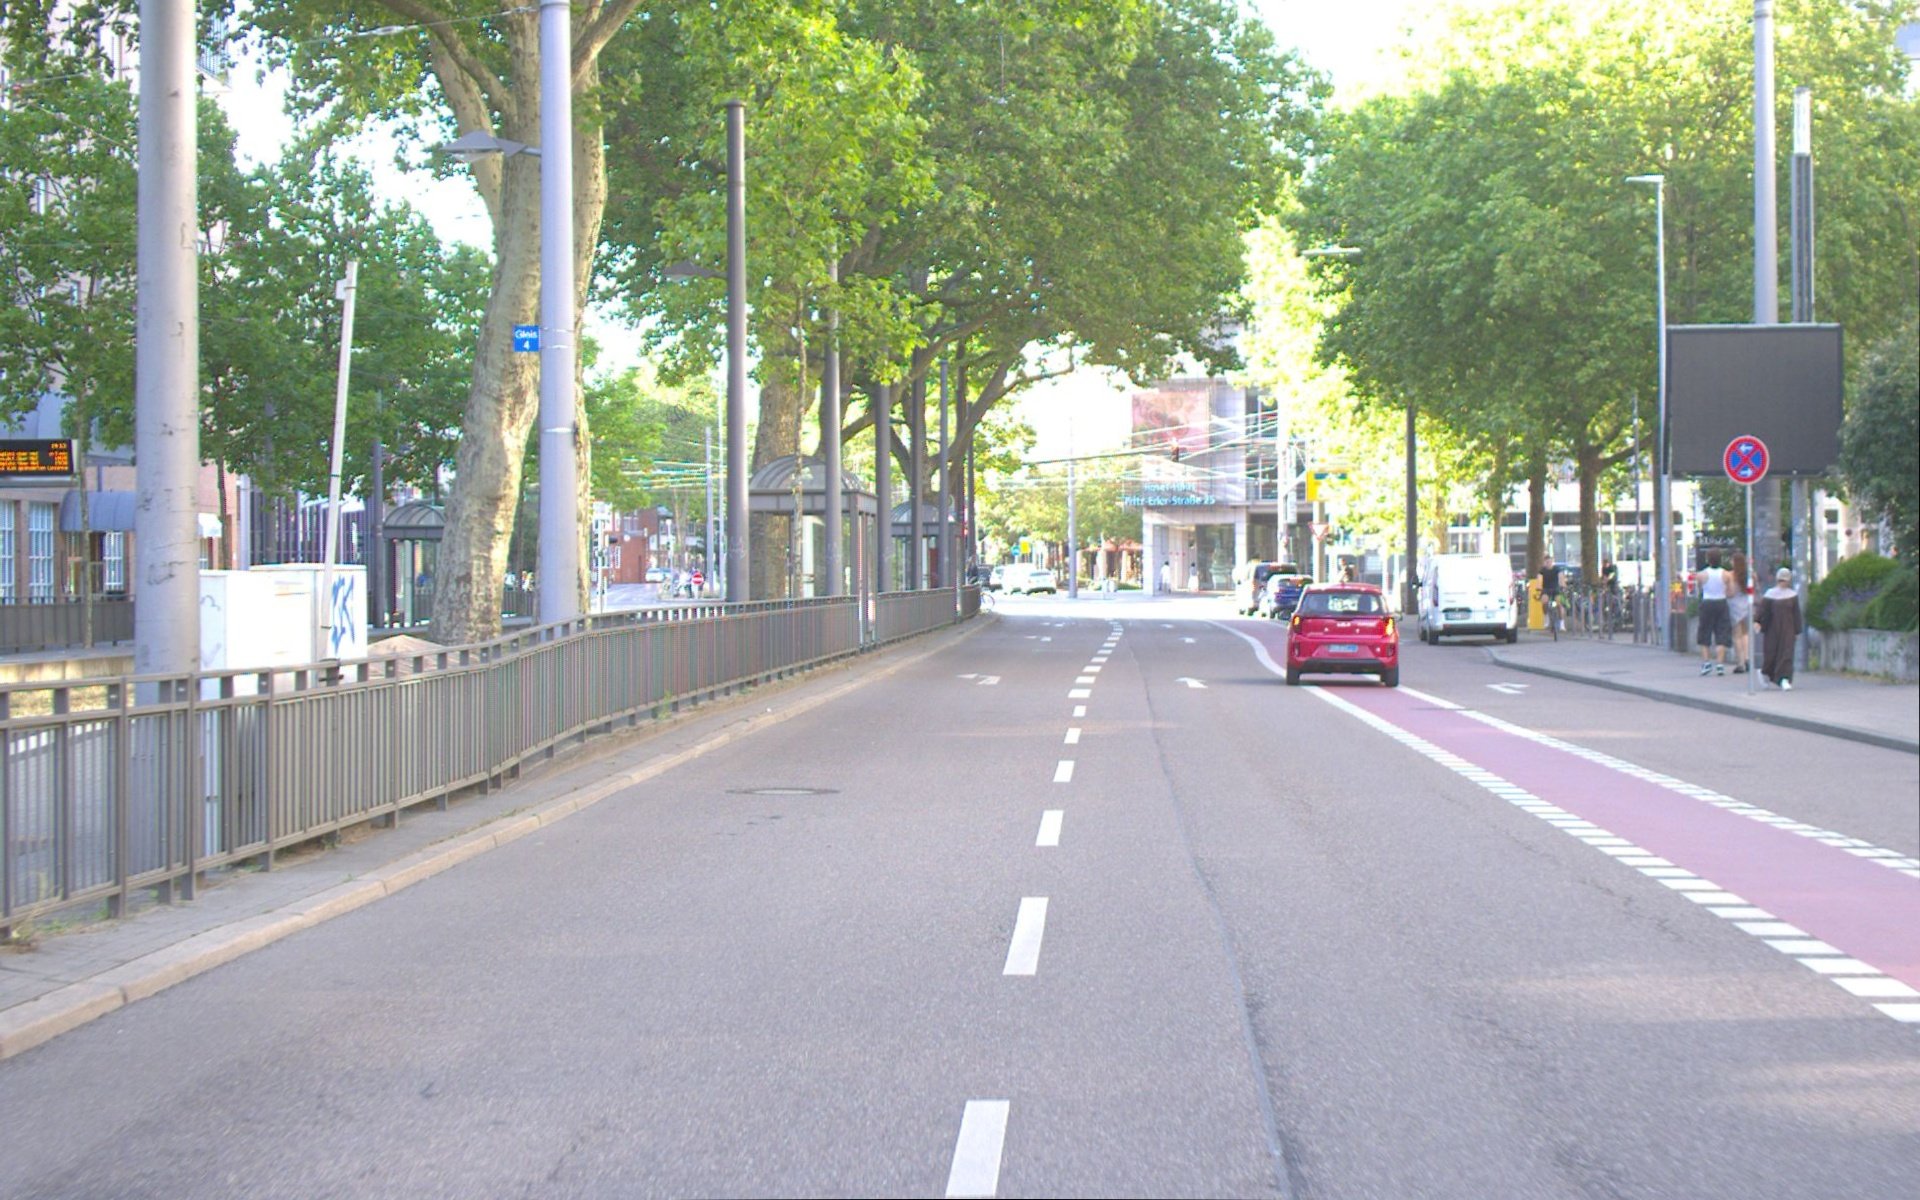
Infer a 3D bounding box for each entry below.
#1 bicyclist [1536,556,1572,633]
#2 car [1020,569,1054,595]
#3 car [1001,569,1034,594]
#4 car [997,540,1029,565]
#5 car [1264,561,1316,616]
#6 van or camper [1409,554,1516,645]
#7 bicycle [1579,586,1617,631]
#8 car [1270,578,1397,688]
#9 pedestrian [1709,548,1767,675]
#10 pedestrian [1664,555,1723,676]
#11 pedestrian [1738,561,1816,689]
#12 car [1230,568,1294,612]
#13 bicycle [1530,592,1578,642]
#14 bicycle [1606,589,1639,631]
[{"bbox_3d":[13.121,-0.121,75.970,0.650,1.696,0.952,0,0,2],"label":"bicyclist"},{"bbox_3d":[4.537,-1.071,202.907,1.777,1.529,3.412,0,1,-2],"label":"car"},{"bbox_3d":[3.494,-1.140,209.557,1.777,1.529,3.412,0,1,-2],"label":"car"},{"bbox_3d":[3.319,-2.966,215.569,1.777,1.583,3.412,0,1,-2],"label":"car"},{"bbox_3d":[10.984,-0.382,114.619,1.636,1.794,3.329,0,1,4],"label":"car"},{"bbox_3d":[11.268,-0.026,77.385,1.994,1.982,4.744,0,0,3],"label":"van or camper"},{"bbox_3d":[15.329,0.203,82.642,0.586,1.063,1.900,-1,0,2],"label":"bicycle"},{"bbox_3d":[5.443,0.457,50.372,1.613,1.529,3.411,0,1,2],"label":"car"},{"bbox_3d":[11.262,0.161,49.790,0.540,1.790,0.907,-3,0,0],"label":"pedestrian"},{"bbox_3d":[10.630,0.218,49.837,0.564,1.696,0.907,-3,0,0],"label":"pedestrian"},{"bbox_3d":[10.454,0.316,44.006,0.641,1.574,0.723,-4,0,-9],"label":"pedestrian"},{"bbox_3d":[10.605,-0.361,120.840,1.777,1.529,3.512,0,1,-2],"label":"car"},{"bbox_3d":[13.110,0.375,75.904,0.683,1.063,2.469,-1,0,2],"label":"bicycle"},{"bbox_3d":[15.921,0.226,82.630,0.467,0.978,1.767,-1,0,2],"label":"bicycle"}]
